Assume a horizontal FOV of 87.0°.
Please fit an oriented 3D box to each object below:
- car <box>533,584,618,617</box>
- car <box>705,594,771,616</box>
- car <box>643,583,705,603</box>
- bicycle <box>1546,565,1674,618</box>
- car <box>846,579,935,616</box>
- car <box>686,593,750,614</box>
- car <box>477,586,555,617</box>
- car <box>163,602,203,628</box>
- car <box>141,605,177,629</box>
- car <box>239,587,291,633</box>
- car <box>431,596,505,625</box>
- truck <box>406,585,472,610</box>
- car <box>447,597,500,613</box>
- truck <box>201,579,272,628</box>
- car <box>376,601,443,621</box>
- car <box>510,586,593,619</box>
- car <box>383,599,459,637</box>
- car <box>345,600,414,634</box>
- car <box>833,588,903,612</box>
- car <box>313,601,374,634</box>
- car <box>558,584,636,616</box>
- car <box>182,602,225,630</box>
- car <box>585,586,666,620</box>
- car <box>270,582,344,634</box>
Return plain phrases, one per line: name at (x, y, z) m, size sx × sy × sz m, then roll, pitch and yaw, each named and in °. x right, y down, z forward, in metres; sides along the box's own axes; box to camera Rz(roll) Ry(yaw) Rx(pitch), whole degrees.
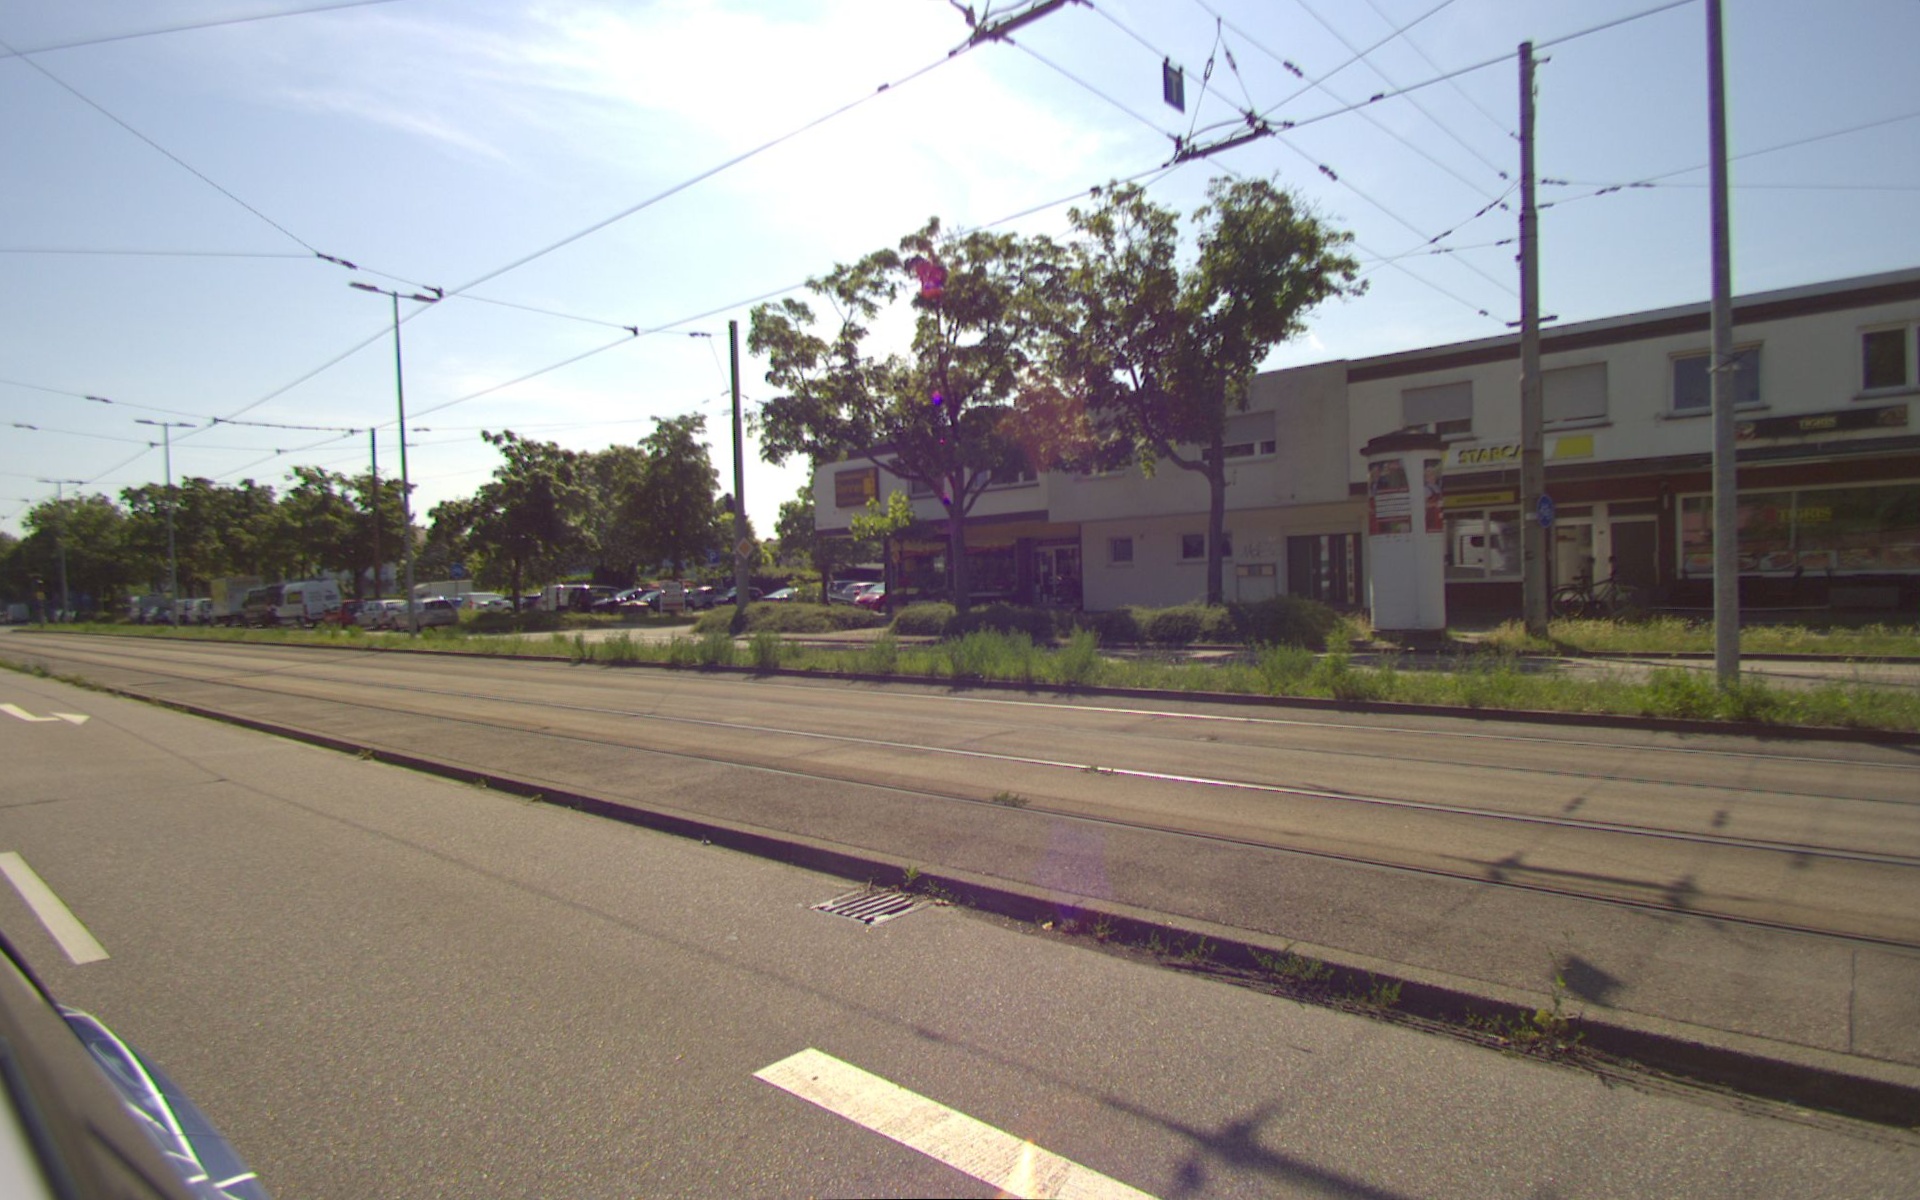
car at (-22.067, -0.006, 58.195) m, size 1.988 × 1.751 × 4.068 m, roll -1°, pitch 1°, yaw 38°
car at (-15.268, 0.346, 69.699) m, size 1.676 × 1.345 × 4.197 m, roll -1°, pitch 1°, yaw 42°
car at (-21.082, -0.554, 74.734) m, size 1.674 × 1.345 × 4.201 m, roll -1°, pitch 1°, yaw 39°
bicycle at (14.684, -0.168, 22.903) m, size 2.333 × 1.161 × 0.779 m, roll -1°, pitch -1°, yaw 42°
car at (-3.249, -0.120, 47.994) m, size 1.676 × 1.616 × 4.197 m, roll -1°, pitch 1°, yaw 42°
car at (-17.063, 0.242, 71.493) m, size 1.676 × 1.345 × 4.197 m, roll -1°, pitch 1°, yaw 42°
car at (-28.030, 0.081, 64.008) m, size 1.988 × 1.751 × 4.068 m, roll -1°, pitch 1°, yaw 38°
car at (-59.755, 1.189, 77.829) m, size 4.056 × 1.859 × 1.484 m, roll -1°, pitch 4°, yaw 40°
car at (-64.411, 1.380, 81.372) m, size 3.685 × 1.799 × 1.484 m, roll -1°, pitch 4°, yaw 40°
car at (-42.294, 0.614, 61.530) m, size 4.005 × 2.643 × 1.483 m, roll -1°, pitch 4°, yaw 41°
car at (-33.303, 0.704, 68.428) m, size 5.739 × 1.825 × 2.560 m, roll -1°, pitch 1°, yaw 42°
truck at (-53.009, -0.267, 103.046) m, size 1.988 × 2.398 × 5.584 m, roll -1°, pitch 1°, yaw 38°
car at (-45.994, 0.423, 95.691) m, size 1.676 × 1.345 × 4.198 m, roll -1°, pitch 1°, yaw 41°
truck at (-48.394, 0.259, 67.613) m, size 5.902 × 2.956 × 2.476 m, roll -1°, pitch 4°, yaw 42°
car at (-42.072, 0.808, 77.443) m, size 1.676 × 1.345 × 4.198 m, roll -1°, pitch 1°, yaw 41°
car at (-24.042, 0.129, 59.676) m, size 1.988 × 1.751 × 4.068 m, roll -1°, pitch 1°, yaw 38°
car at (-25.248, 0.834, 47.346) m, size 4.255 × 1.544 × 1.654 m, roll -1°, pitch 4°, yaw 41°
car at (-29.311, 0.862, 51.037) m, size 4.255 × 1.544 × 1.654 m, roll -1°, pitch 4°, yaw 41°
car at (-5.569, -0.004, 61.655) m, size 1.676 × 1.345 × 4.197 m, roll -1°, pitch 1°, yaw 42°
car at (-33.158, 0.947, 54.377) m, size 3.791 × 1.544 × 1.654 m, roll -1°, pitch 4°, yaw 41°
car at (-20.225, -0.007, 56.463) m, size 1.676 × 1.646 × 3.761 m, roll -1°, pitch 1°, yaw 42°
car at (-54.723, 1.147, 73.176) m, size 4.631 × 1.817 × 1.483 m, roll -1°, pitch 4°, yaw 41°
car at (-17.965, 0.141, 54.441) m, size 1.676 × 1.646 × 3.761 m, roll -1°, pitch 1°, yaw 42°
car at (-37.256, 0.469, 57.660) m, size 5.201 × 2.673 × 2.036 m, roll -1°, pitch 4°, yaw 41°
